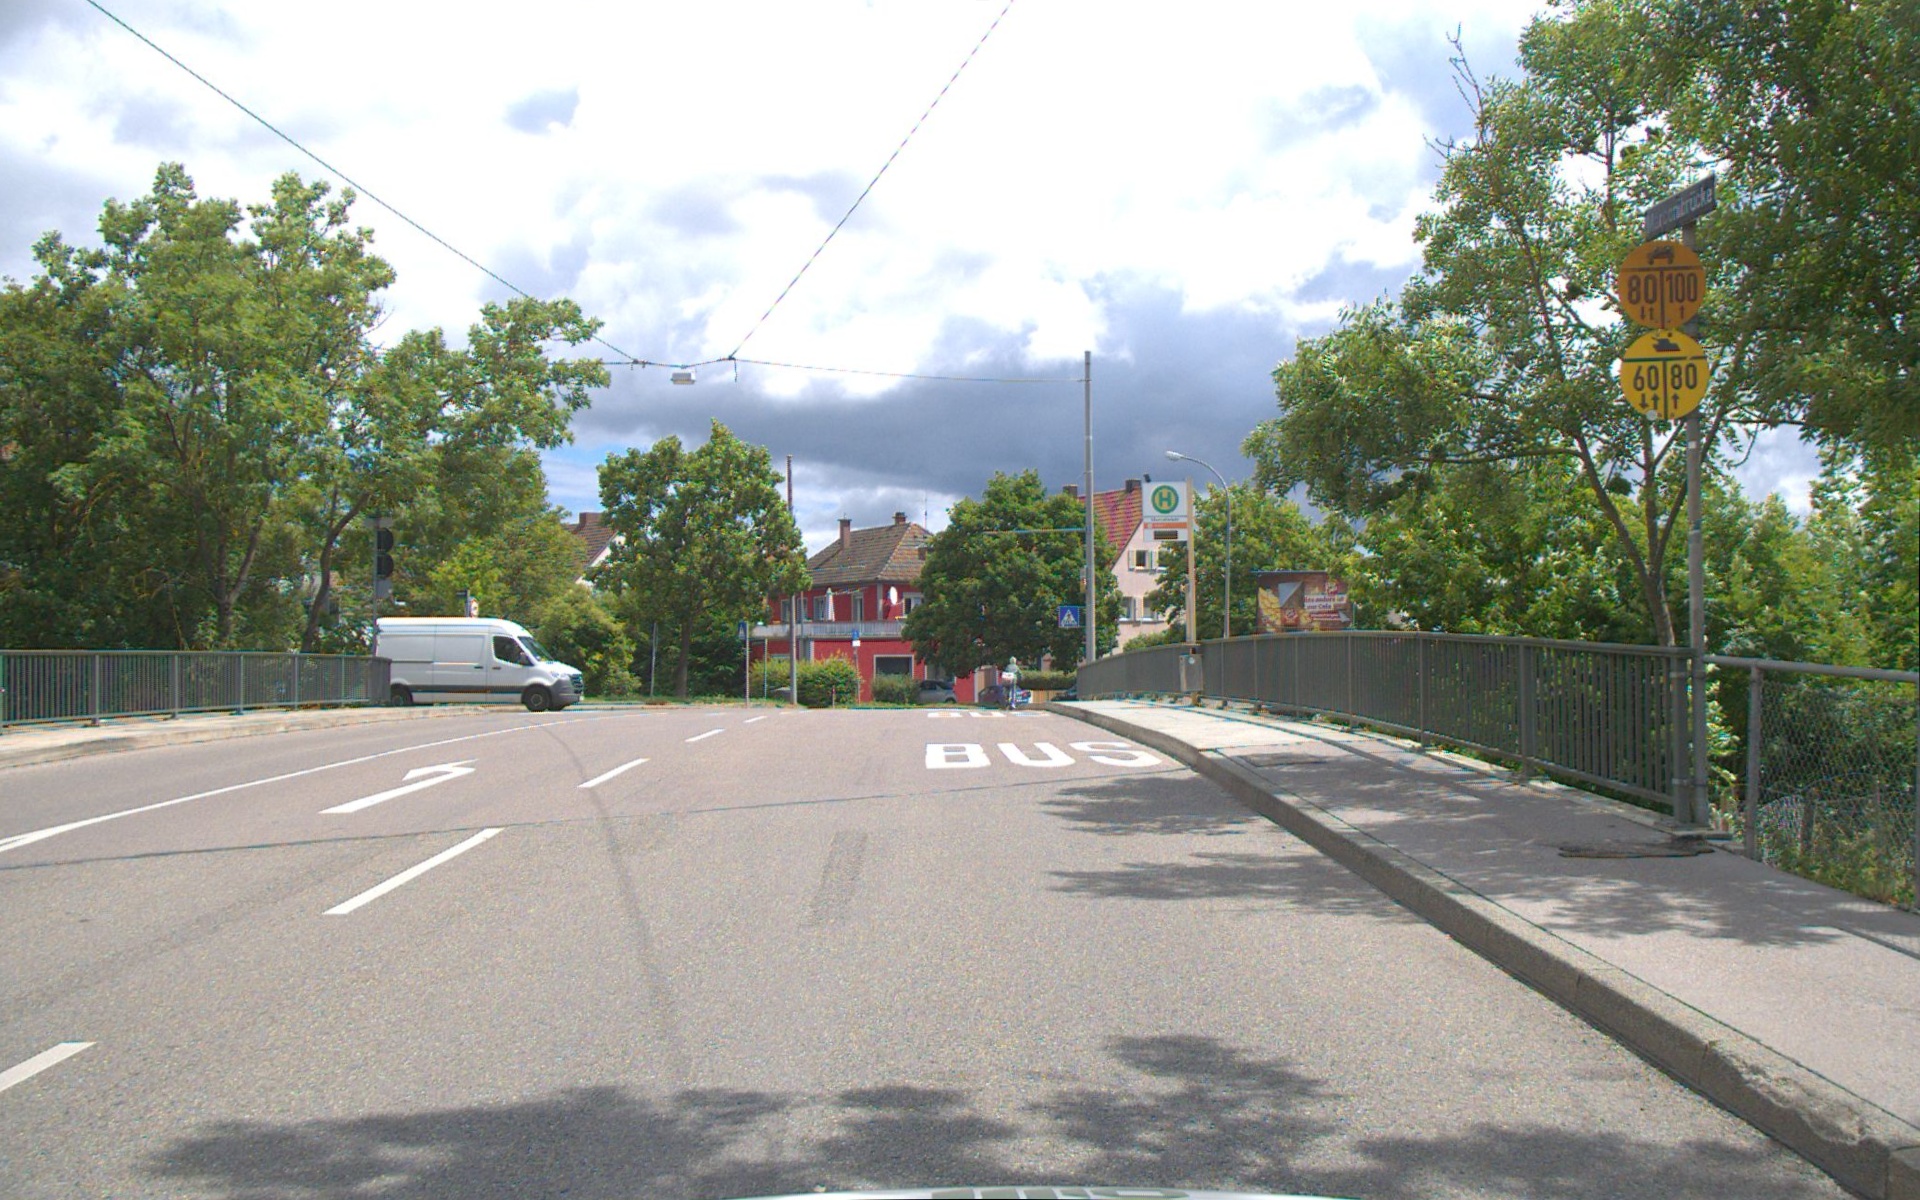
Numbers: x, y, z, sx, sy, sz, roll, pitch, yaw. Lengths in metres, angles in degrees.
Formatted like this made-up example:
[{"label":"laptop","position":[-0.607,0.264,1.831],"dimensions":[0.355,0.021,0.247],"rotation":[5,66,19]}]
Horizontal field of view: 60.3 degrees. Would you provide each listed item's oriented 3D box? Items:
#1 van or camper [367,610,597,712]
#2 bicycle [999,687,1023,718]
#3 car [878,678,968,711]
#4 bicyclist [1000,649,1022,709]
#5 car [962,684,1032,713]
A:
[{"label":"van or camper","position":[-13.337,1.738,46.379],"dimensions":[5.787,2.612,2.193],"rotation":[-2,-4,1]},{"label":"bicycle","position":[1.645,3.282,53.015],"dimensions":[0.673,0.894,2.102],"rotation":[0,-6,4]},{"label":"car","position":[-1.735,4.483,78.676],"dimensions":[4.029,1.451,1.626],"rotation":[4,-4,-34]},{"label":"bicyclist","position":[1.634,2.538,52.987],"dimensions":[0.670,1.858,1.081],"rotation":[0,-6,4]},{"label":"car","position":[1.885,5.096,85.242],"dimensions":[1.820,1.402,3.770],"rotation":[3,-5,-32]}]
